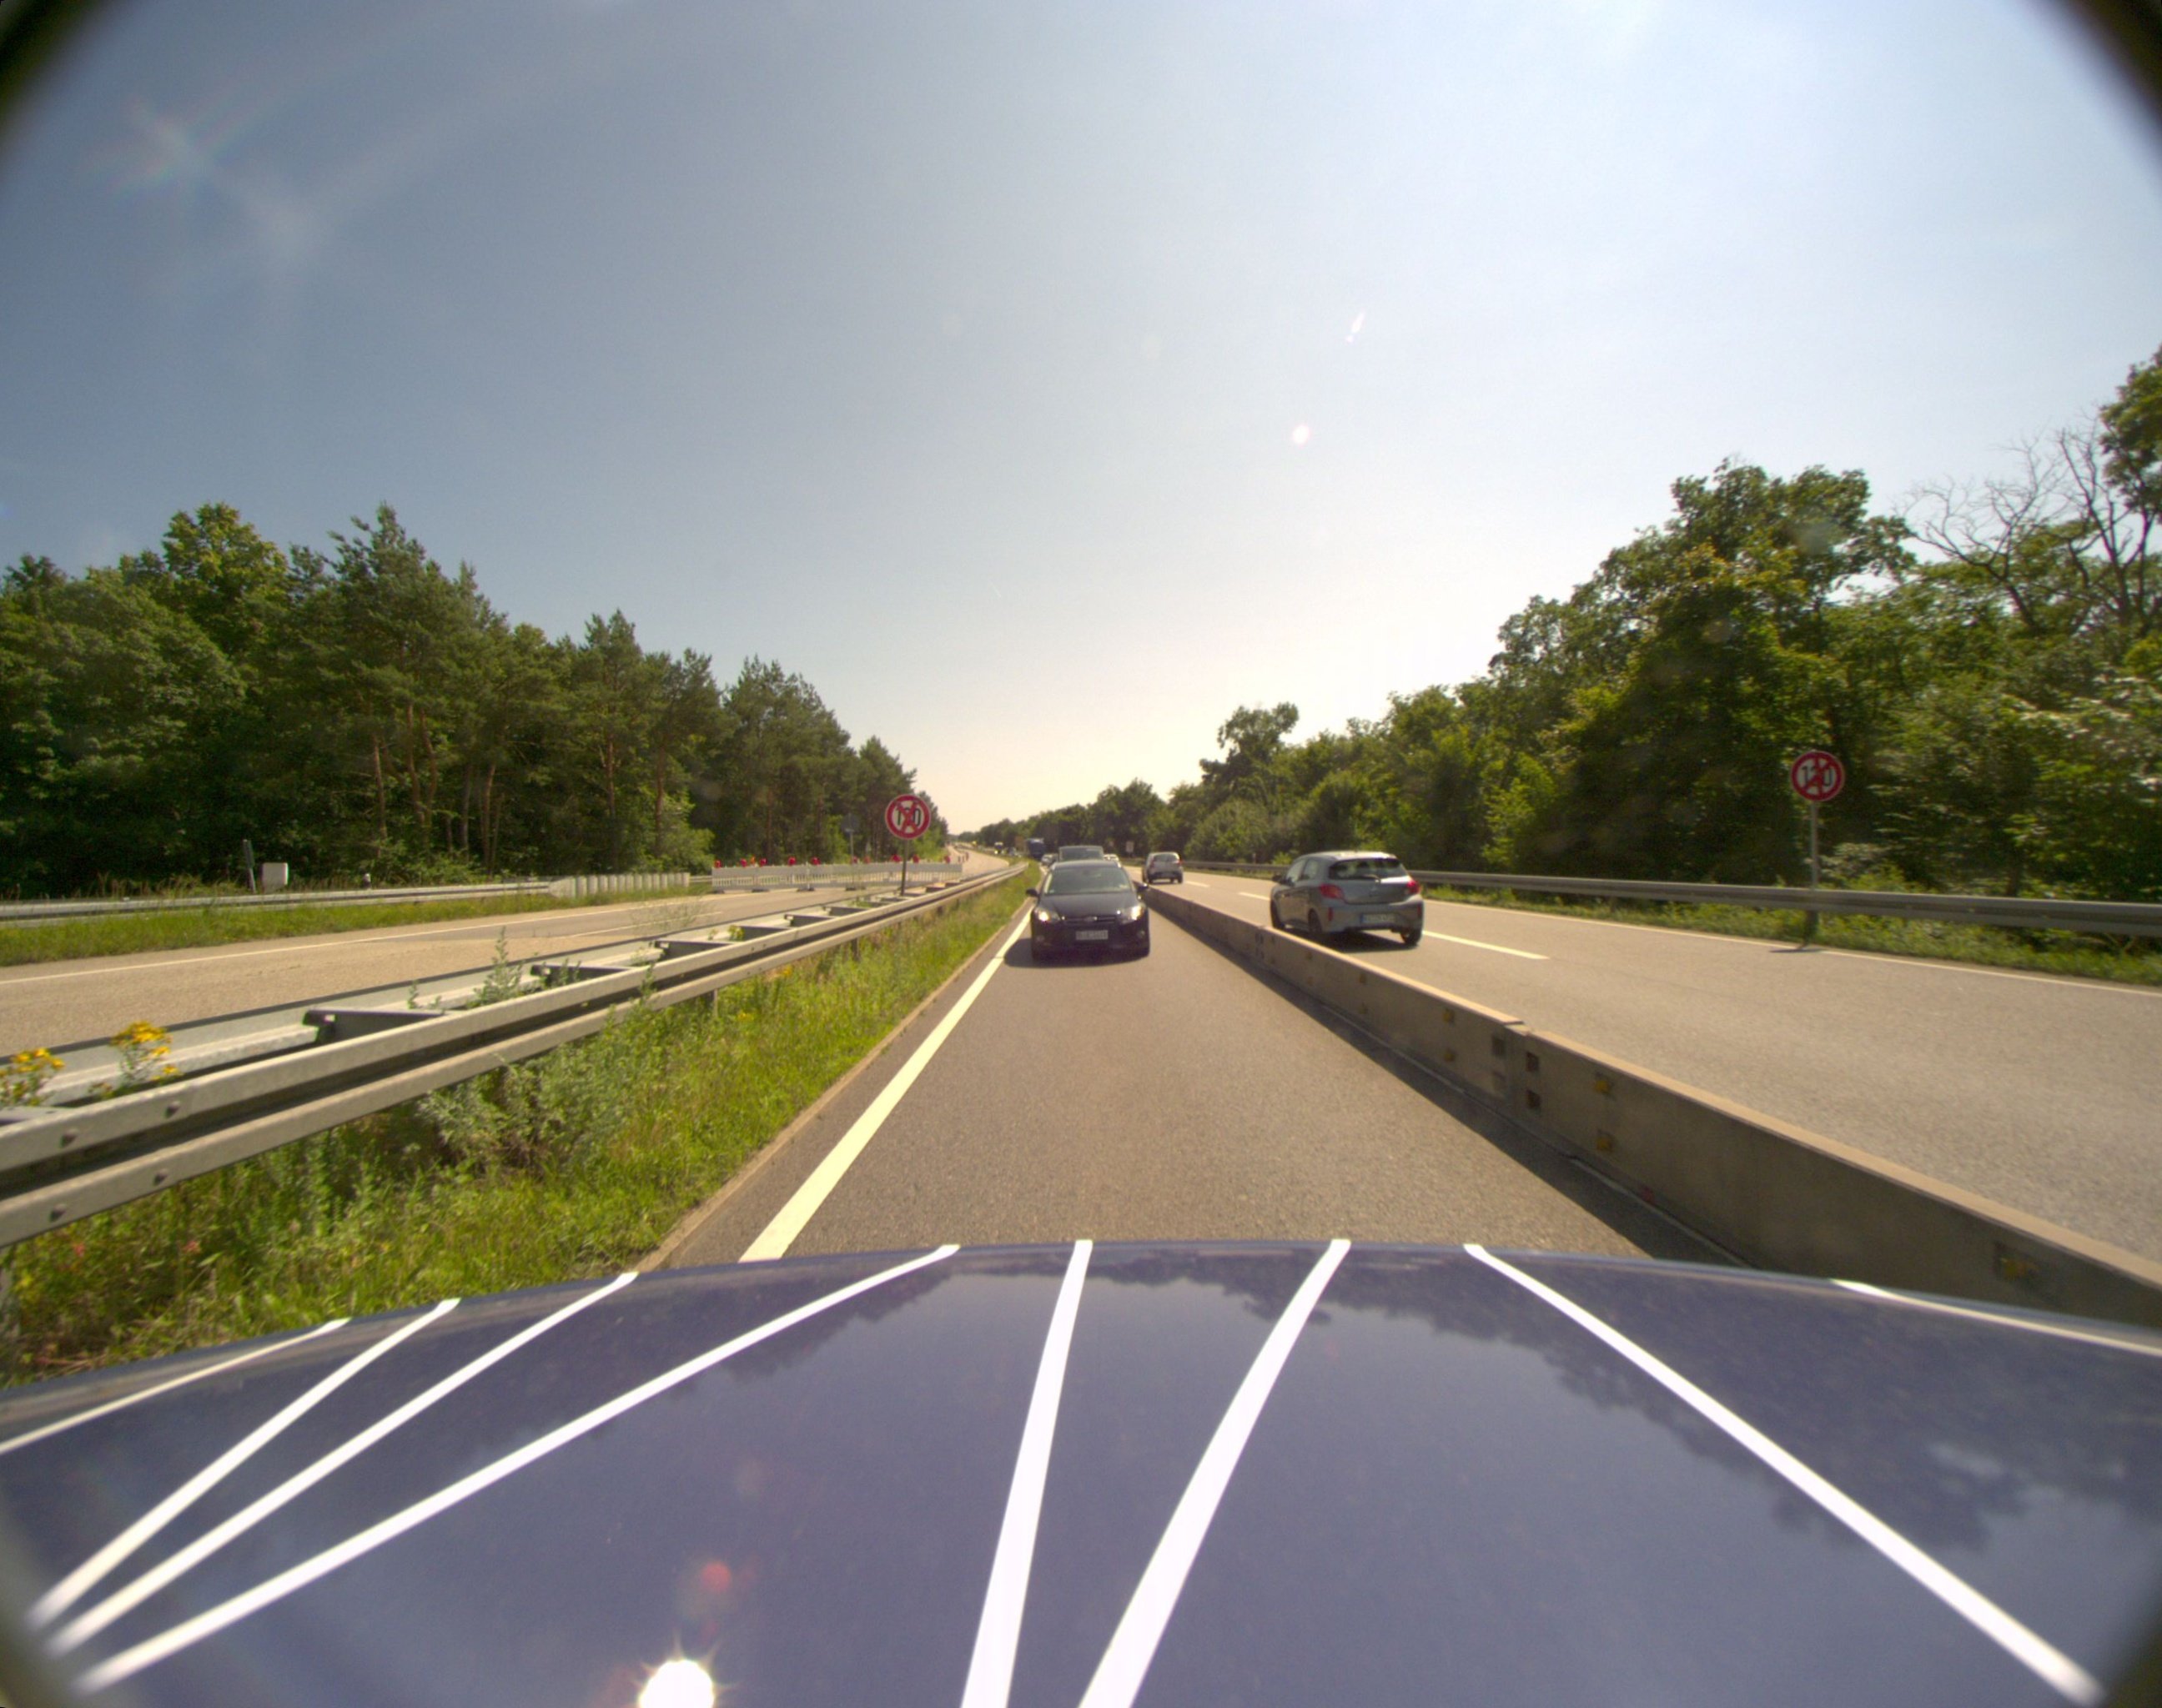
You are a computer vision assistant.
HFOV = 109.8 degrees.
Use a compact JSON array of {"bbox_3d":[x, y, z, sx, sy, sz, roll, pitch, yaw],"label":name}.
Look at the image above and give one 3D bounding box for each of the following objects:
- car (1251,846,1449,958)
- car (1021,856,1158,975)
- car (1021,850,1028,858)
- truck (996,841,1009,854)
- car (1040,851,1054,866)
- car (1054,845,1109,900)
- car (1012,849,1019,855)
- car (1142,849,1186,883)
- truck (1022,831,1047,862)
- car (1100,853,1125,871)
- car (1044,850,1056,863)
[{"bbox_3d":[4.423,0.683,13.308,1.953,1.570,4.435,-2,1,1],"label":"car"},{"bbox_3d":[0.060,0.864,13.109,1.847,1.537,4.934,-2,1,-1],"label":"car"},{"bbox_3d":[-12.221,0.012,164.344,1.527,1.648,3.978,-4,2,-4],"label":"car"},{"bbox_3d":[-25.913,-2.061,251.866,3.830,4.265,11.241,-1,0,-5],"label":"truck"},{"bbox_3d":[-3.900,0.466,86.913,1.527,1.647,3.978,-1,0,-4],"label":"car"},{"bbox_3d":[0.013,0.667,30.837,1.959,1.902,4.934,-2,2,0],"label":"car"},{"bbox_3d":[-17.303,-0.554,200.219,1.528,1.647,3.977,-1,0,-8],"label":"car"},{"bbox_3d":[4.210,0.589,39.031,1.833,1.620,3.784,-1,0,0],"label":"car"},{"bbox_3d":[-8.339,-1.332,135.675,3.831,5.266,11.239,-1,0,-6],"label":"truck"},{"bbox_3d":[2.875,0.684,69.374,1.954,1.530,4.435,-2,0,-1],"label":"car"},{"bbox_3d":[-4.233,0.331,102.585,1.527,1.647,3.752,0,0,-5],"label":"car"}]
